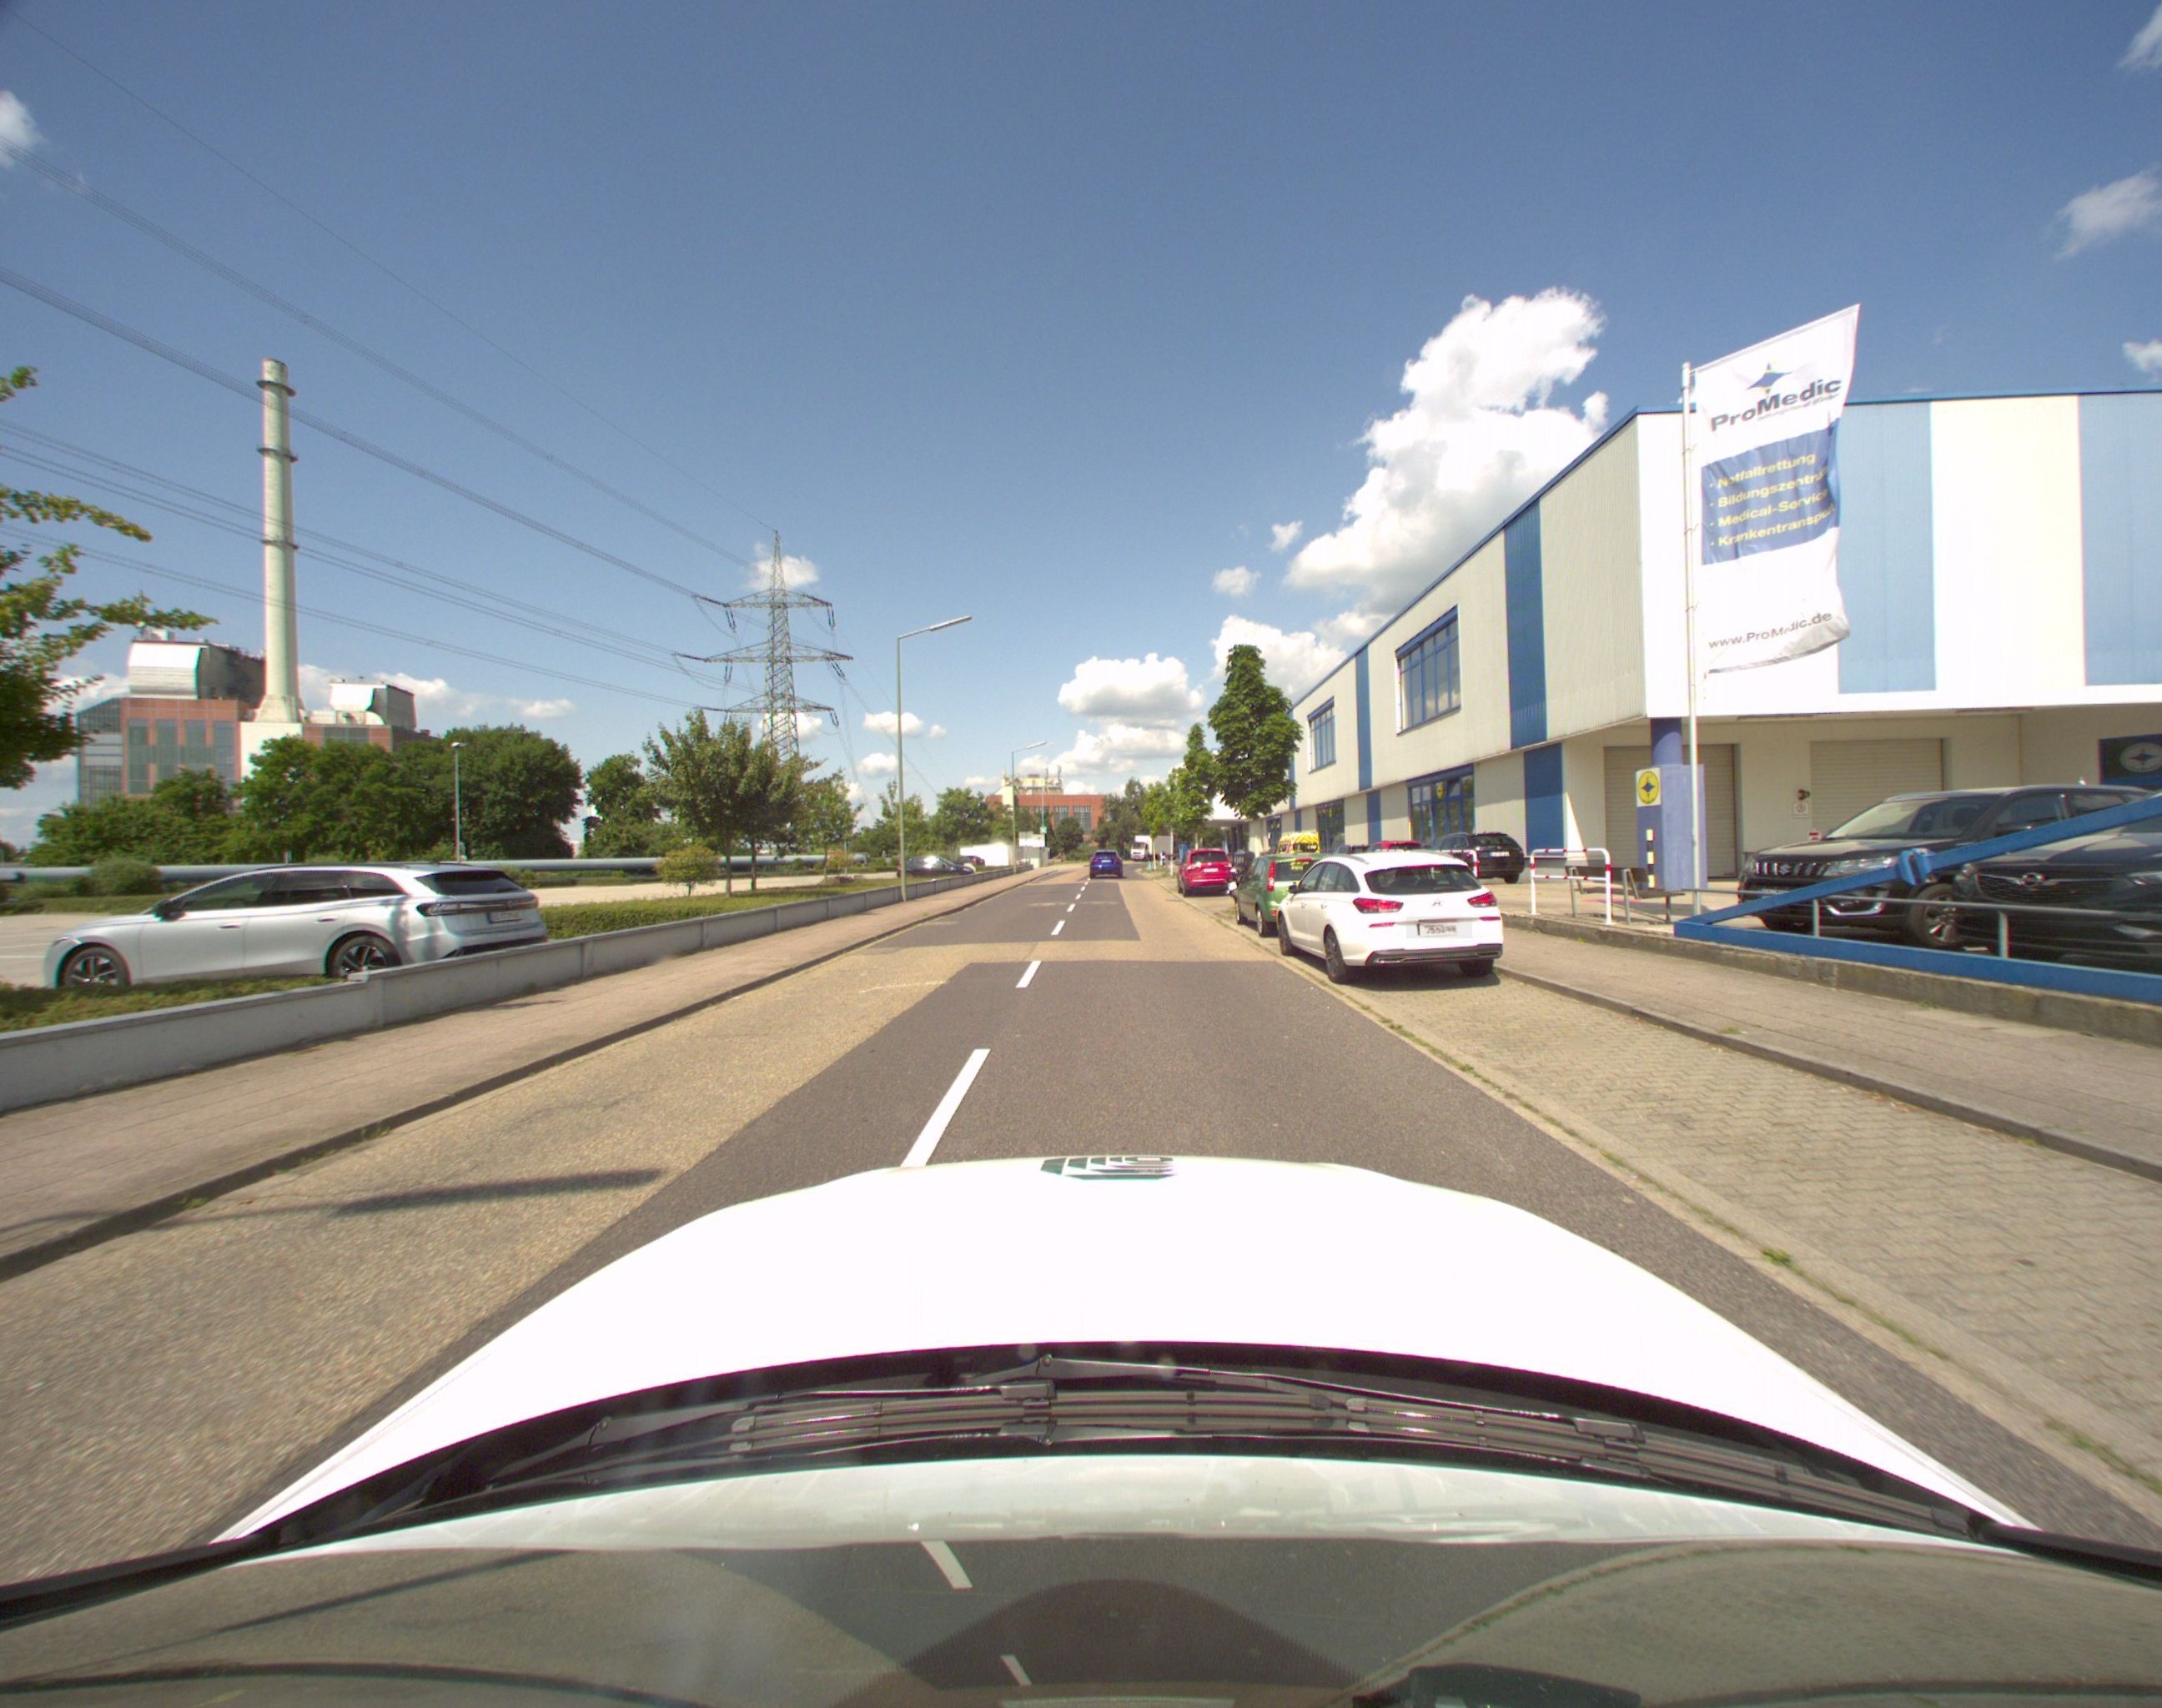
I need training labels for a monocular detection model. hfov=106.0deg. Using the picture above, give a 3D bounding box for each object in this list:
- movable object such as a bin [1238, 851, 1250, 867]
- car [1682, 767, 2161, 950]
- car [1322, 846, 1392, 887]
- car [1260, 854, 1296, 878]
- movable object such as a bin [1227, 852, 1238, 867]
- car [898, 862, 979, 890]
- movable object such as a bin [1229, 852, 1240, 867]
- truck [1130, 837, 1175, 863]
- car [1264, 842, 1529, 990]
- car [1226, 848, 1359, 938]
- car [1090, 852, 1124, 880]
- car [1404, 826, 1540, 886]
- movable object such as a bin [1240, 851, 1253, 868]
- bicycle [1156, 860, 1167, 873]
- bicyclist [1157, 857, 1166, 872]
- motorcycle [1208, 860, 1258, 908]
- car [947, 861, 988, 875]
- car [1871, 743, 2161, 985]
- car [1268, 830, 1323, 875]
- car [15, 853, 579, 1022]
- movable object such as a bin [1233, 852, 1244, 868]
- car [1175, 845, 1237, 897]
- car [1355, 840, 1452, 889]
[{"bbox_3d":[14.395,0.472,71.760,0.801,1.413,1.358,0,-1,1],"label":"movable object such as a bin"},{"bbox_3d":[9.297,0.034,8.834,4.071,1.686,2.000,-1,0,0],"label":"car"},{"bbox_3d":[12.024,0.555,35.751,1.708,1.652,4.216,-1,-1,2],"label":"car"},{"bbox_3d":[12.905,0.749,53.436,1.566,1.490,3.818,-1,0,2],"label":"car"},{"bbox_3d":[14.668,0.501,79.013,0.801,1.413,1.357,0,-1,0],"label":"movable object such as a bin"},{"bbox_3d":[-7.655,1.173,43.894,3.972,1.376,1.804,-1,0,1],"label":"car"},{"bbox_3d":[14.621,0.501,77.601,0.801,1.413,1.405,0,-1,0],"label":"movable object such as a bin"},{"bbox_3d":[10.308,-0.595,115.749,2.299,3.567,9.427,0,1,32],"label":"truck"},{"bbox_3d":[3.780,0.658,10.702,1.828,1.520,4.462,-1,0,1],"label":"car"},{"bbox_3d":[3.984,0.677,15.959,1.662,1.520,3.997,-1,0,2],"label":"car"},{"bbox_3d":[1.507,0.701,48.504,1.902,1.593,4.702,-1,0,1],"label":"car"},{"bbox_3d":[11.232,0.149,23.805,1.820,1.513,4.642,-1,-3,2],"label":"car"},{"bbox_3d":[14.279,0.483,70.294,0.801,1.413,1.358,0,-1,1],"label":"movable object such as a bin"},{"bbox_3d":[7.353,1.166,74.070,0.662,1.109,2.175,-2,0,13],"label":"bicycle"},{"bbox_3d":[7.380,0.945,74.244,0.658,1.397,0.861,-2,0,13],"label":"bicyclist"},{"bbox_3d":[4.173,0.793,22.181,0.848,1.200,2.376,-2,0,22],"label":"motorcycle"},{"bbox_3d":[-11.431,1.394,81.954,3.948,1.378,1.815,-1,0,36],"label":"car"},{"bbox_3d":[9.478,0.021,6.529,4.212,1.647,2.147,-1,0,0],"label":"car"},{"bbox_3d":[12.259,-0.061,46.886,1.916,2.464,5.262,-1,0,2],"label":"car"},{"bbox_3d":[-9.157,0.905,9.908,4.742,1.602,1.998,-3,0,-2],"label":"car"},{"bbox_3d":[14.389,0.525,74.555,0.801,1.413,1.174,0,-1,0],"label":"movable object such as a bin"},{"bbox_3d":[4.447,0.592,29.588,1.747,1.650,4.682,-3,-1,4],"label":"car"},{"bbox_3d":[11.872,0.403,30.302,1.986,1.657,4.291,-1,-1,2],"label":"car"}]
